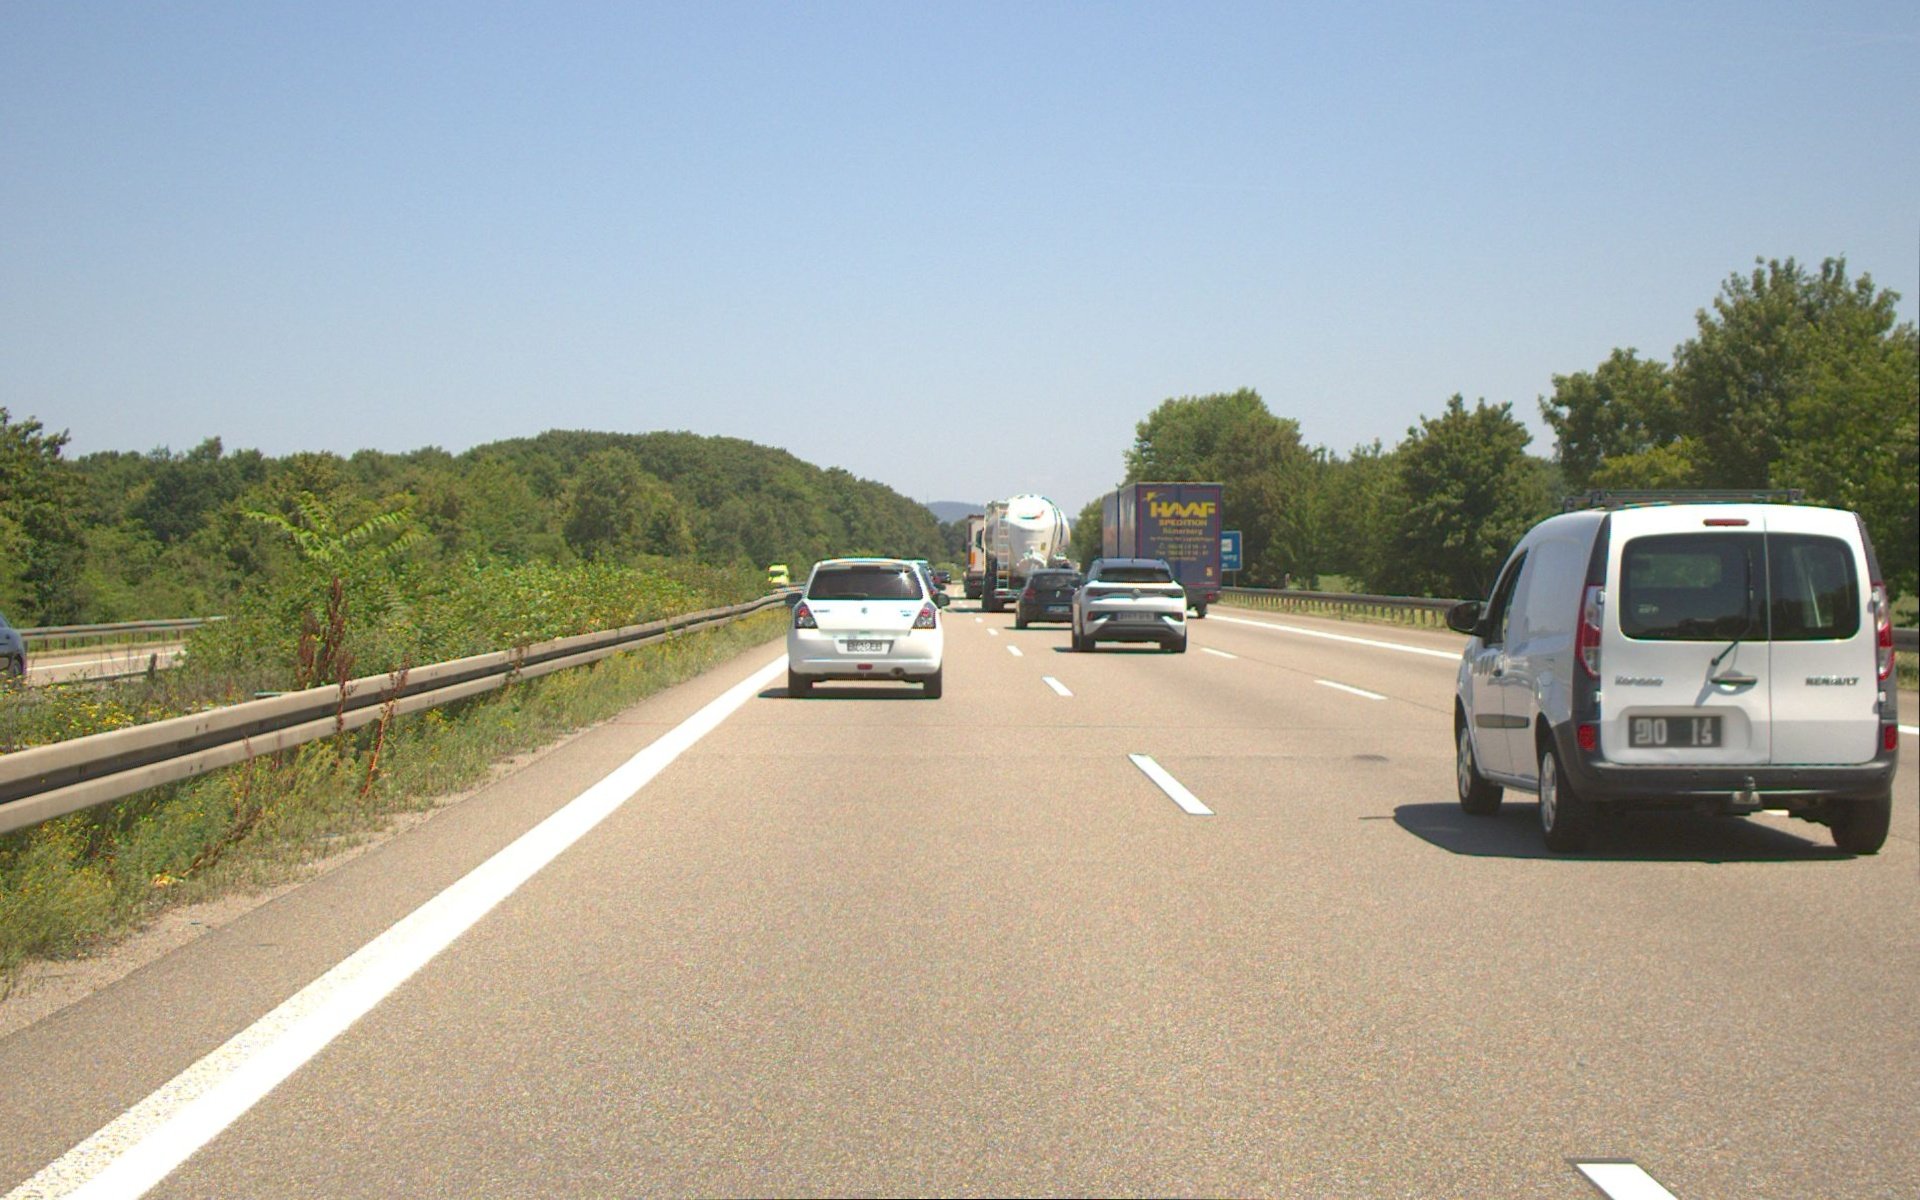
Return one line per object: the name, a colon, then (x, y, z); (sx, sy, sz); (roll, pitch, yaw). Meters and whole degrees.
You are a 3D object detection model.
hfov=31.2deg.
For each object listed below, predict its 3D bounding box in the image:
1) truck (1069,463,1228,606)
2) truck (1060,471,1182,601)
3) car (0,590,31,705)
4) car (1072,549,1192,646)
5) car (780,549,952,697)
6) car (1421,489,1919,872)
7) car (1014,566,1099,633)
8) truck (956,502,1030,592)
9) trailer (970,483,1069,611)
truck: (5.753, -2.006, 108.158); (3.108, 4.124, 15.513); (1, 1, -4)
truck: (5.310, -2.112, 114.680); (3.108, 4.124, 8.057); (1, 1, -4)
car: (-13.321, 0.669, 43.355); (1.957, 1.463, 4.752); (-2, 1, -1)
car: (2.964, -0.069, 59.946); (1.802, 1.597, 4.381); (1, 1, -1)
car: (-1.032, 0.224, 38.211); (1.799, 1.547, 3.610); (1, 1, -1)
car: (3.877, 0.371, 19.262); (1.853, 1.856, 4.702); (1, 1, -1)
car: (2.257, -0.035, 81.515); (1.850, 1.518, 3.957); (1, 1, -1)
truck: (1.599, -2.559, 167.303); (3.394, 4.199, 12.083); (1, 1, 0)
trailer: (1.937, -1.769, 116.465); (2.911, 4.055, 12.419); (1, 1, -1)
